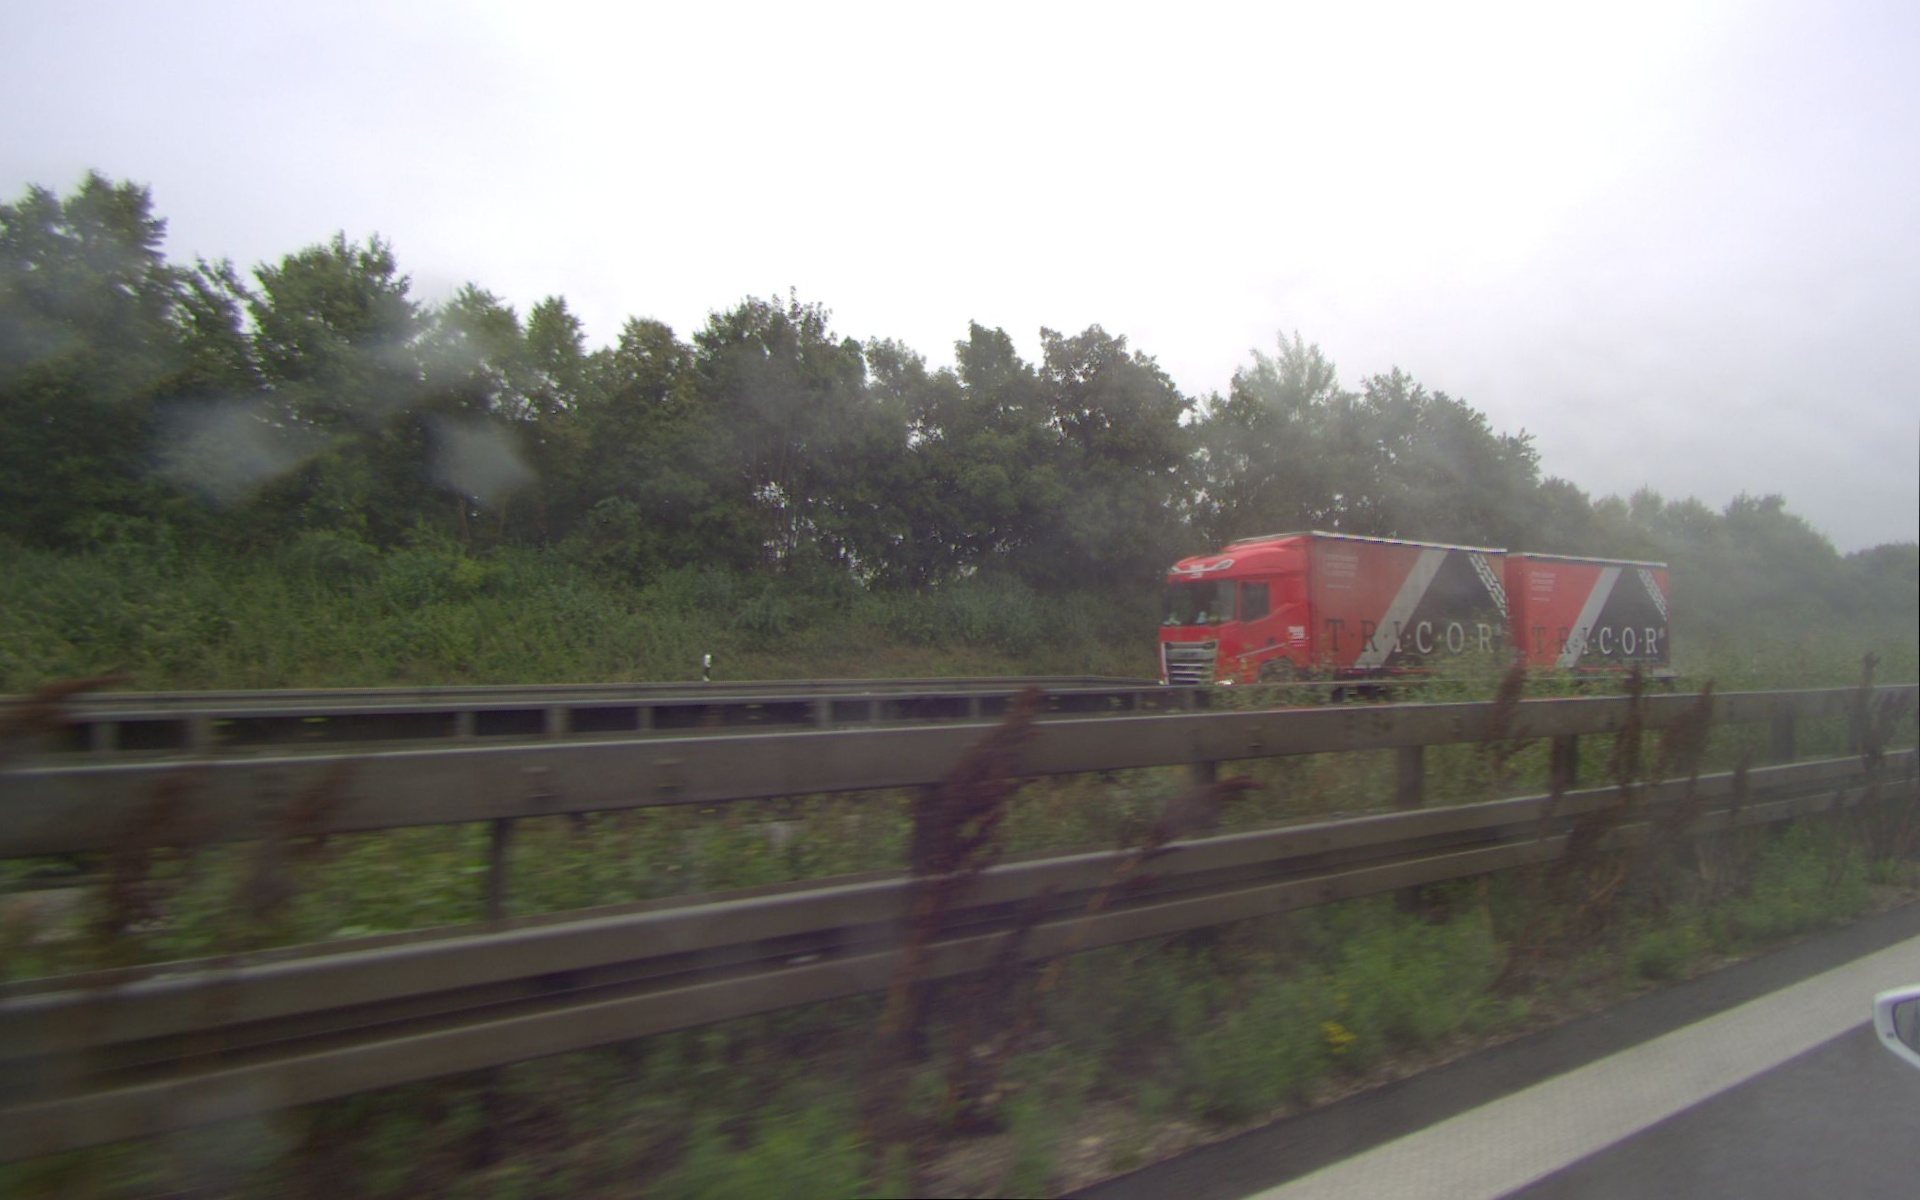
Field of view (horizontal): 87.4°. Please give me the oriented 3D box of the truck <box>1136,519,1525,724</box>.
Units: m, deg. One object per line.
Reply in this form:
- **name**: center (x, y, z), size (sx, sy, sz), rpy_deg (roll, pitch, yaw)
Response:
- **truck**: center (9.597, 0.581, 25.081), size (11.224, 4.287, 2.683), rpy_deg (2, 0, -31)

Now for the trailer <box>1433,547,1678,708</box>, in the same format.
- **trailer**: center (18.047, 0.834, 30.218), size (8.392, 4.287, 2.684), rpy_deg (2, 0, -31)
